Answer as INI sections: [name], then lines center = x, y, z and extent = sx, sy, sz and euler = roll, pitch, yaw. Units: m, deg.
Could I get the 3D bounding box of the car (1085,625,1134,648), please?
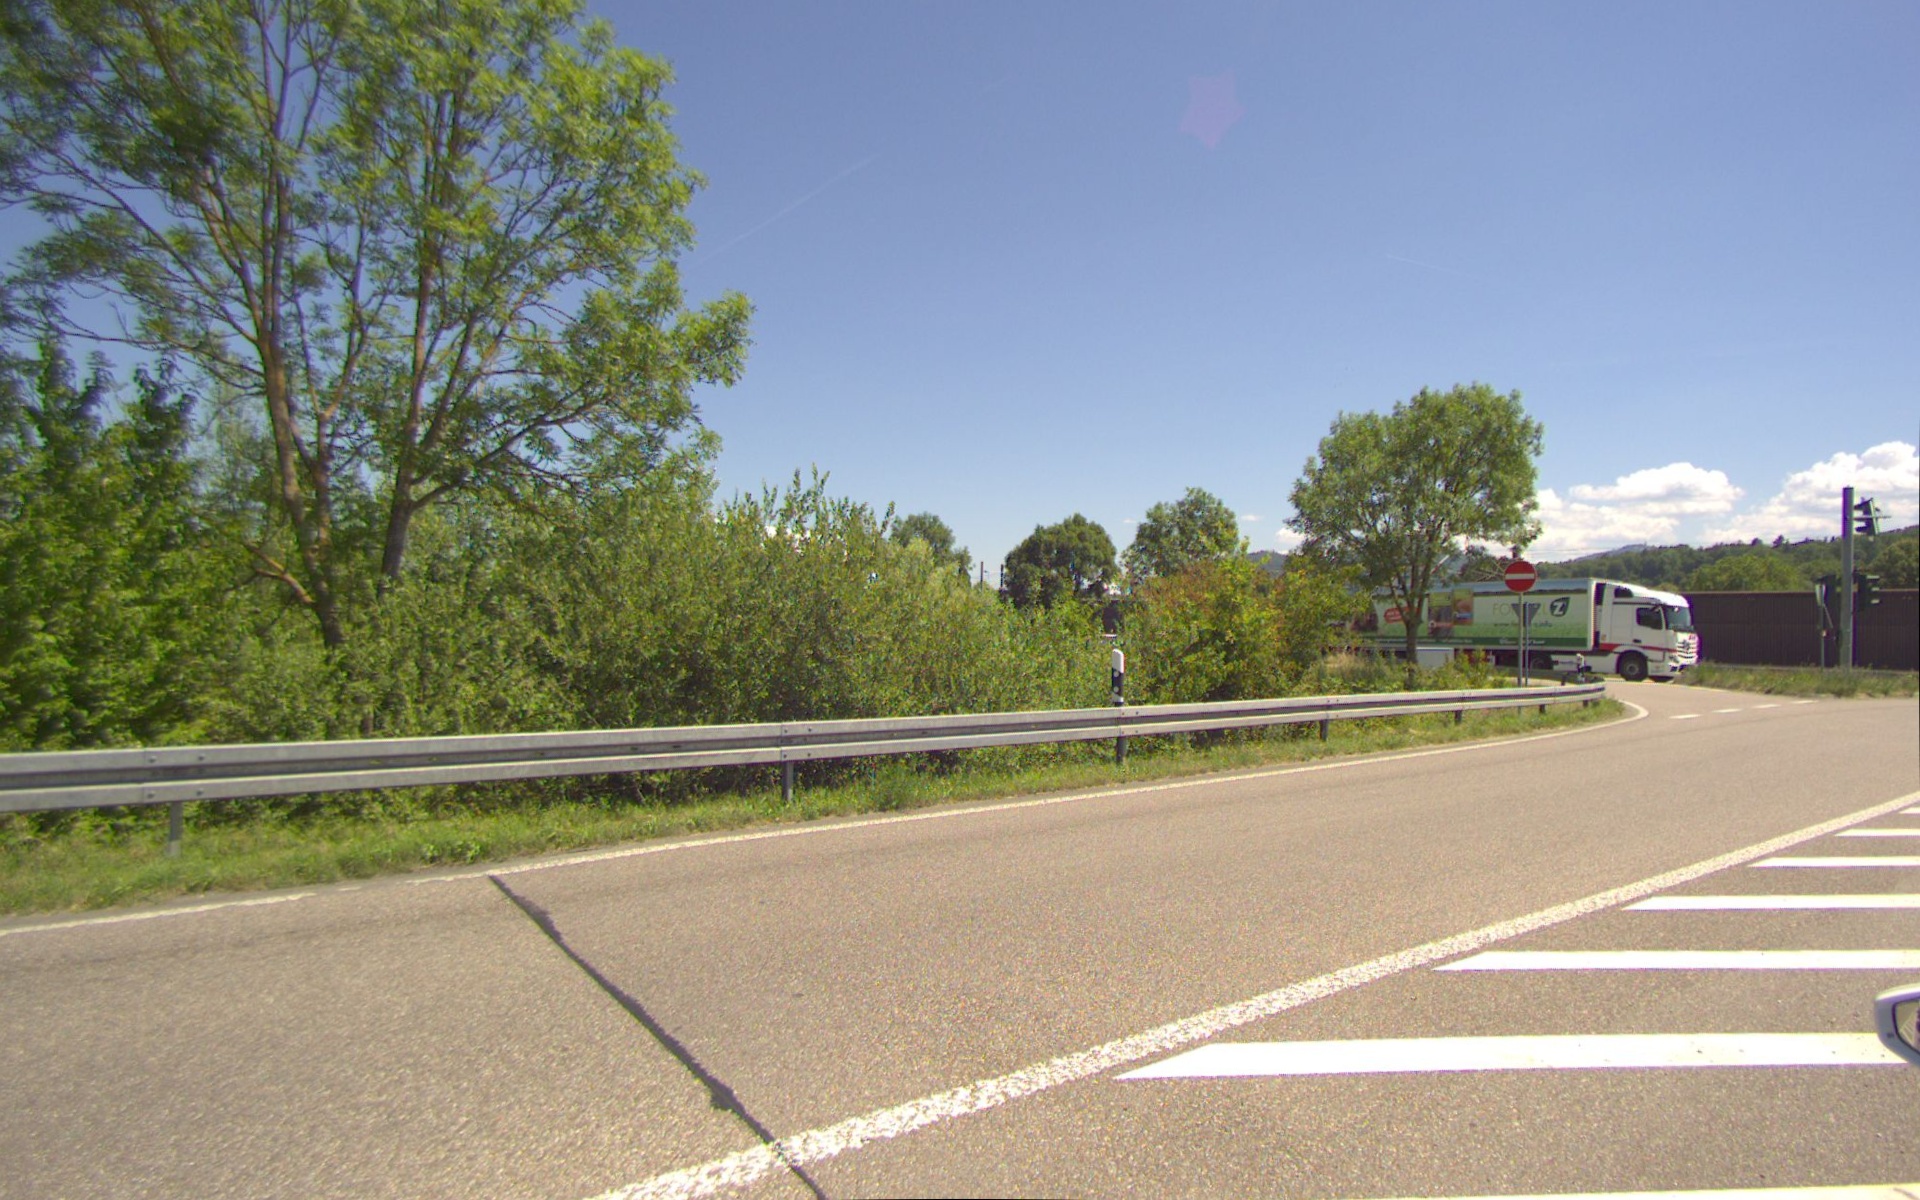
[car]
center = 10.349, 2.546, 69.665
extent = 1.537, 1.484, 3.455
euler = 2, -1, -31

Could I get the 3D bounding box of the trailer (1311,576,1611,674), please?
[trailer]
center = 22.810, 1.074, 47.180
extent = 3.027, 4.007, 13.074
euler = 2, -1, -31

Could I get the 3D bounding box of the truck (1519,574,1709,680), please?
[truck]
center = 26.506, 1.070, 40.947
extent = 3.027, 4.007, 5.736
euler = 2, -1, -31
